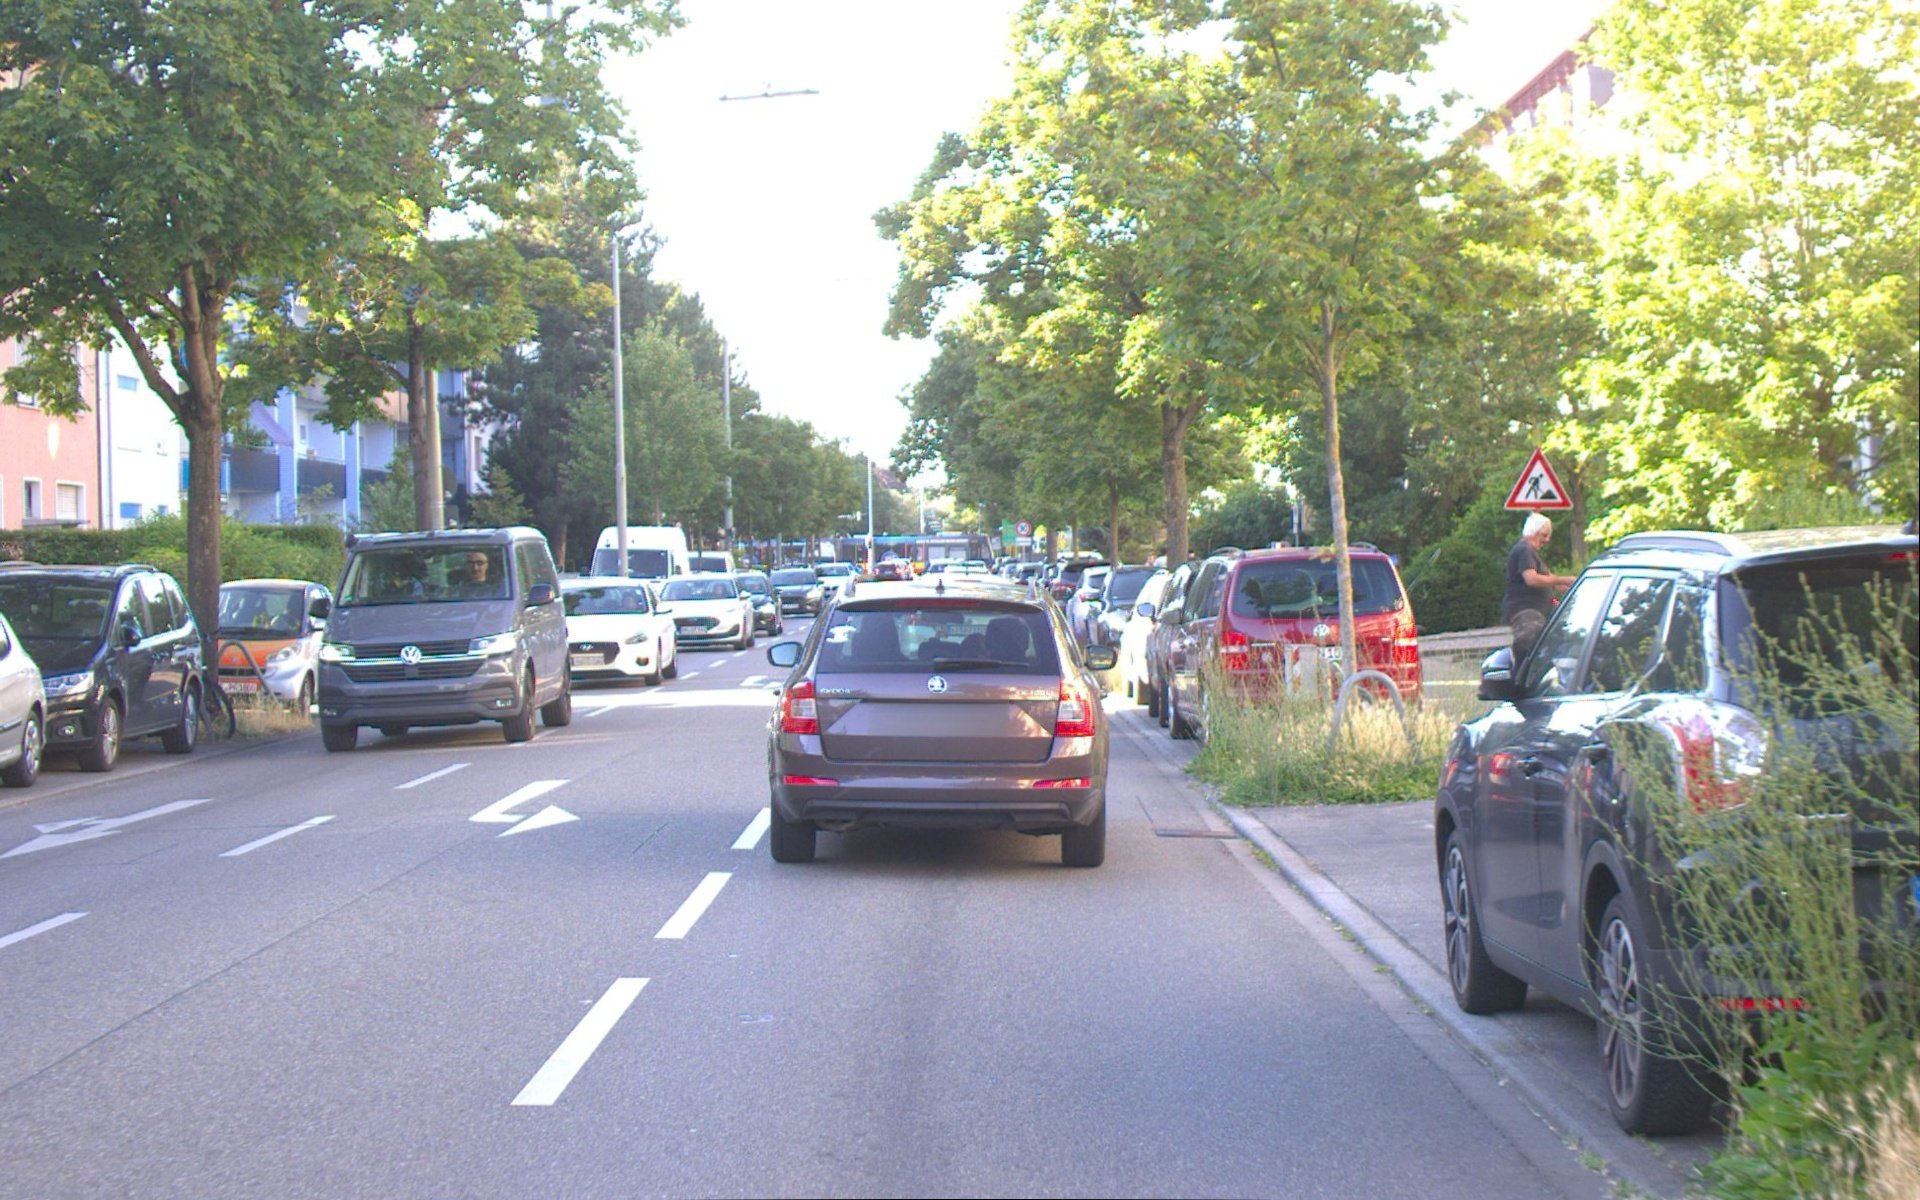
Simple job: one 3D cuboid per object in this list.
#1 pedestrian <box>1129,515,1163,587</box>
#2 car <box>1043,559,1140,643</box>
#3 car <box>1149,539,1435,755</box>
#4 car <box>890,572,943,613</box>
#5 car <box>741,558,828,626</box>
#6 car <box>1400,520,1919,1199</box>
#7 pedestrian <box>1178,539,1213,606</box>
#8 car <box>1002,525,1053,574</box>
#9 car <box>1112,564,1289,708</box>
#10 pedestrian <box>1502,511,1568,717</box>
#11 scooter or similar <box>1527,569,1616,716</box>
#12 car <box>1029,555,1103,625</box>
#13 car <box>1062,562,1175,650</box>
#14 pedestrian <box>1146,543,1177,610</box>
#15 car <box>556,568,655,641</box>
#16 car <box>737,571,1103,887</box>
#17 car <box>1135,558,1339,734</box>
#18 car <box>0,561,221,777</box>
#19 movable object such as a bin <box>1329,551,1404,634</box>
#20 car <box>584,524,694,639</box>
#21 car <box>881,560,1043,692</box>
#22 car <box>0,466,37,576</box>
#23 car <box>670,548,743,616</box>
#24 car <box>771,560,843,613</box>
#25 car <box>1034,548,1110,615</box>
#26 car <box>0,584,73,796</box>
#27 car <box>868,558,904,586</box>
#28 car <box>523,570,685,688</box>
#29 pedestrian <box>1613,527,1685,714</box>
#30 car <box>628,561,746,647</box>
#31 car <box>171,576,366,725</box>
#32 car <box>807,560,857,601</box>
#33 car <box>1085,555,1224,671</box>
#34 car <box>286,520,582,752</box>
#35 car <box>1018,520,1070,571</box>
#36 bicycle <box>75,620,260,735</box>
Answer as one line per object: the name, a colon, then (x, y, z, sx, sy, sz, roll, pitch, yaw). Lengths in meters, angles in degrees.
pedestrian: (4.425, -1.157, 81.731, 0.788, 1.695, 0.807, 0, 0, 5)
car: (2.595, -0.009, 68.692, 1.718, 1.595, 4.096, -1, 1, 0)
car: (2.680, 0.335, 28.725, 1.721, 1.650, 4.598, 0, 1, -3)
car: (-1.654, -0.302, 129.440, 1.781, 1.475, 3.971, 1, 1, -3)
car: (-3.904, -0.201, 77.069, 1.700, 1.399, 4.028, -3, 1, 0)
car: (2.537, 0.592, 10.316, 1.792, 1.626, 4.029, -3, 1, -1)
pedestrian: (6.578, -0.773, 95.960, 0.799, 1.854, 0.950, -1, 0, 11)
car: (2.661, -1.952, 134.615, 1.916, 1.854, 5.633, -1, 1, 2)
car: (2.674, 0.365, 39.050, 1.636, 1.485, 4.416, -2, 1, 0)
pedestrian: (5.222, 0.125, 31.242, 0.548, 1.843, 0.764, 0, 0, 7)
scooter or similar: (5.545, 0.378, 31.208, 0.746, 1.313, 0.721, 0, 0, 7)
car: (2.647, -0.277, 86.155, 1.754, 1.657, 4.252, -2, 1, 2)
car: (2.810, 0.074, 61.710, 1.718, 1.489, 4.394, -1, 1, -1)
pedestrian: (5.627, -0.661, 96.223, 0.749, 1.854, 1.068, -1, 0, -1)
car: (-7.781, 0.081, 75.700, 1.706, 1.487, 4.058, 2, 1, 0)
car: (-0.137, 0.606, 18.634, 1.754, 1.487, 4.000, 1, 1, 2)
car: (2.641, 0.398, 33.537, 1.636, 1.563, 4.000, -2, 1, 0)
car: (-7.882, 0.541, 30.017, 1.784, 1.727, 4.617, -1, 1, 1)
movable object such as a bin: (7.670, -0.151, 64.833, 1.267, 1.487, 1.139, -3, 0, 10)
car: (-7.603, -0.478, 81.995, 1.993, 2.607, 7.105, 1, 1, -1)
car: (0.012, 0.328, 43.629, 1.892, 1.501, 3.790, 3, 0, 0)
car: (-15.573, -1.210, 52.623, 1.827, 1.677, 4.000, 0, 0, 0)
car: (-7.727, -0.568, 105.152, 1.868, 2.024, 5.301, 0, 1, -1)
car: (-4.455, -0.398, 100.579, 1.700, 1.465, 4.294, -2, 1, 3)
car: (3.078, -0.534, 95.334, 1.800, 1.802, 4.424, 1, 1, -2)
car: (-7.780, 0.661, 24.962, 1.682, 1.516, 4.191, -1, 1, -1)
car: (-4.837, -1.827, 224.189, 1.993, 1.744, 4.001, -1, 1, -5)
car: (-4.839, 0.360, 47.190, 1.816, 1.441, 4.110, -3, 1, -1)
pedestrian: (6.299, 0.186, 31.458, 0.510, 1.691, 0.527, -1, 0, -4)
car: (-5.126, 0.045, 65.116, 1.832, 1.465, 4.452, -4, 1, 0)
car: (-7.837, 0.549, 39.185, 1.499, 1.611, 2.861, 0, 1, 3)
car: (-5.015, -0.768, 134.129, 1.879, 1.537, 4.267, -1, 1, -3)
car: (2.841, 0.159, 51.150, 1.874, 1.576, 4.820, -2, 1, 2)
car: (-4.880, 0.291, 32.576, 1.993, 1.939, 4.778, -3, 1, 0)
car: (2.898, -1.864, 118.247, 1.754, 1.681, 4.252, 1, 1, 2)
bicycle: (-7.810, 0.759, 33.902, 1.675, 1.085, 0.560, 1, 1, 2)
